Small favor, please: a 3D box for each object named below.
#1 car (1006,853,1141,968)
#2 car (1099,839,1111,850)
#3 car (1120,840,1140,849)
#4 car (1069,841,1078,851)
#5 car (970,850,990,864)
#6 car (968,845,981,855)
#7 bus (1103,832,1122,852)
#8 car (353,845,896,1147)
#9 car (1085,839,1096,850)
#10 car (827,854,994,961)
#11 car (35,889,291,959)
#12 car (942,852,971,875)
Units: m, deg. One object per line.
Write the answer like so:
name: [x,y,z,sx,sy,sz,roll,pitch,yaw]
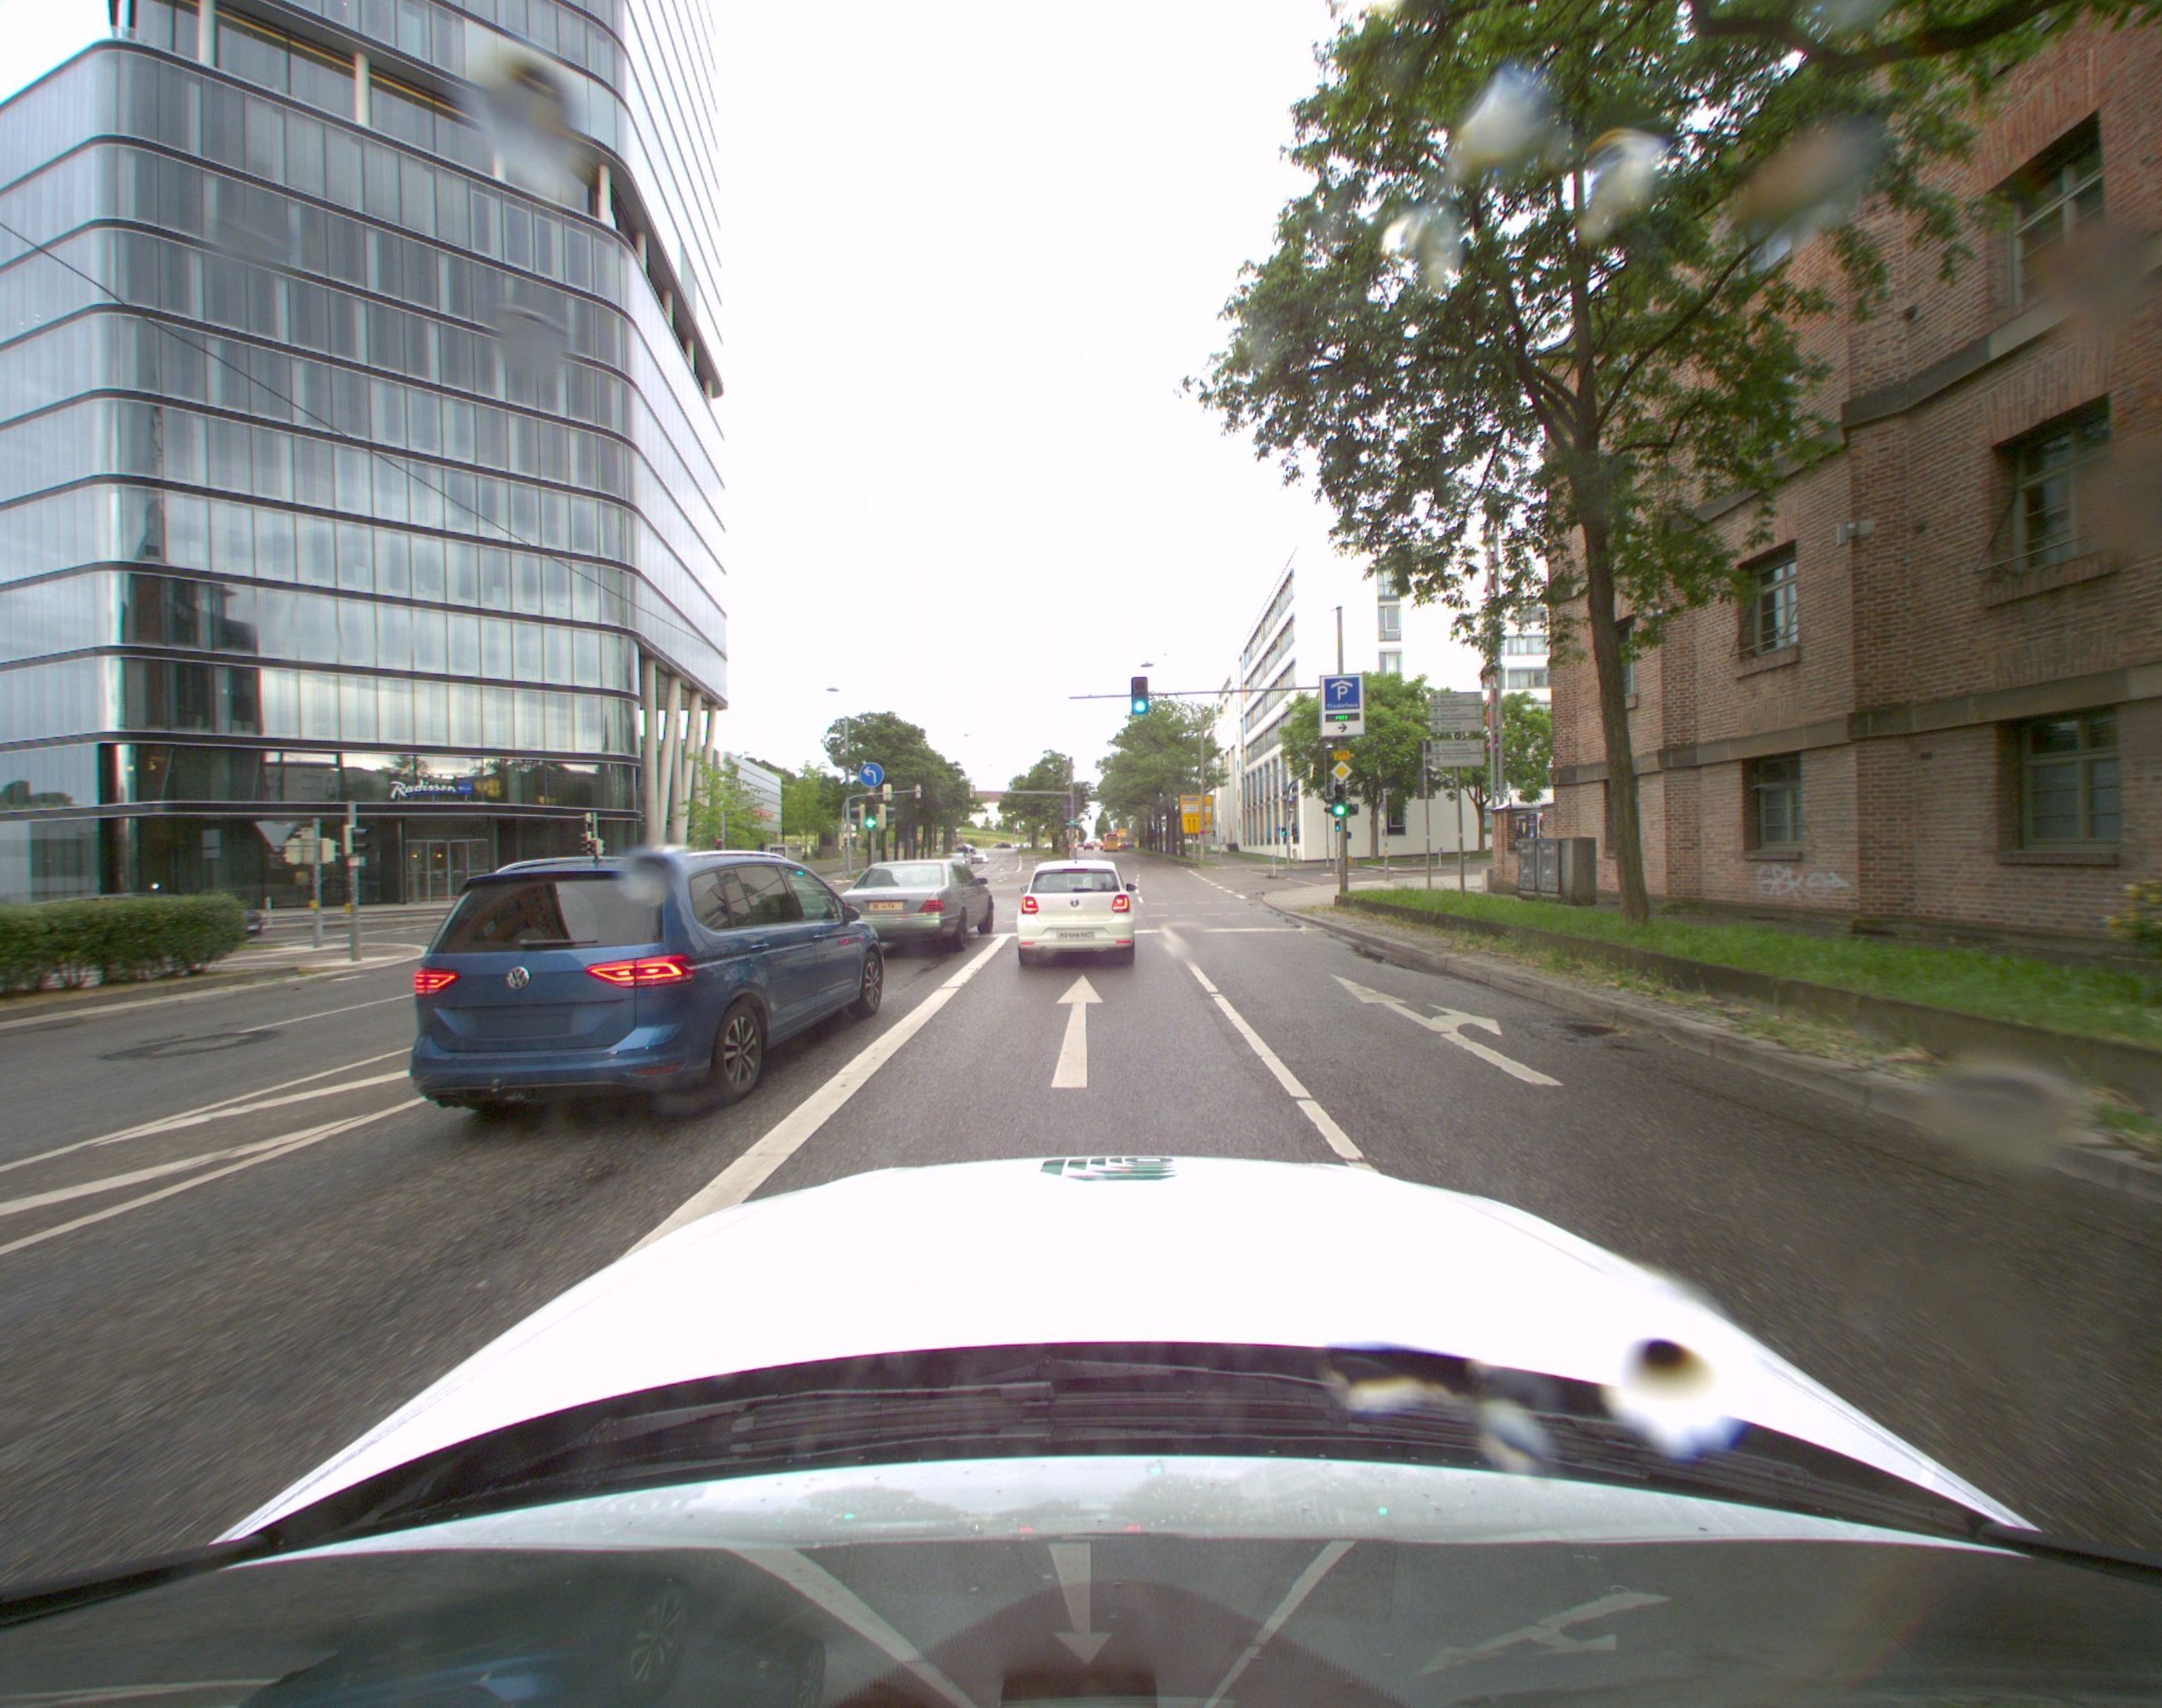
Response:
car: [-0.066,0.752,12.857,1.788,1.502,4.001,-1,0,1]
car: [4.520,-1.836,154.358,1.987,2.013,3.999,-2,0,0]
car: [9.190,-1.756,153.115,1.679,1.515,3.850,-2,0,45]
car: [-1.443,-1.500,155.195,1.789,1.741,3.998,-2,0,-1]
car: [-11.285,0.340,90.961,1.810,1.411,4.651,-3,1,-3]
car: [-19.595,-0.774,149.729,1.990,1.615,5.113,-3,1,-4]
bus: [5.374,-2.087,140.965,2.819,3.266,9.999,-1,1,0]
car: [-2.982,0.774,6.545,1.765,1.596,4.201,-2,0,3]
car: [1.797,-1.806,153.419,1.987,2.013,3.999,-2,0,0]
car: [-2.749,0.790,14.115,1.839,1.510,4.050,-2,0,2]
car: [-25.650,1.903,22.980,4.373,1.510,1.845,-3,1,-20]
car: [-9.313,0.707,61.136,1.746,1.520,3.813,-3,1,-3]
